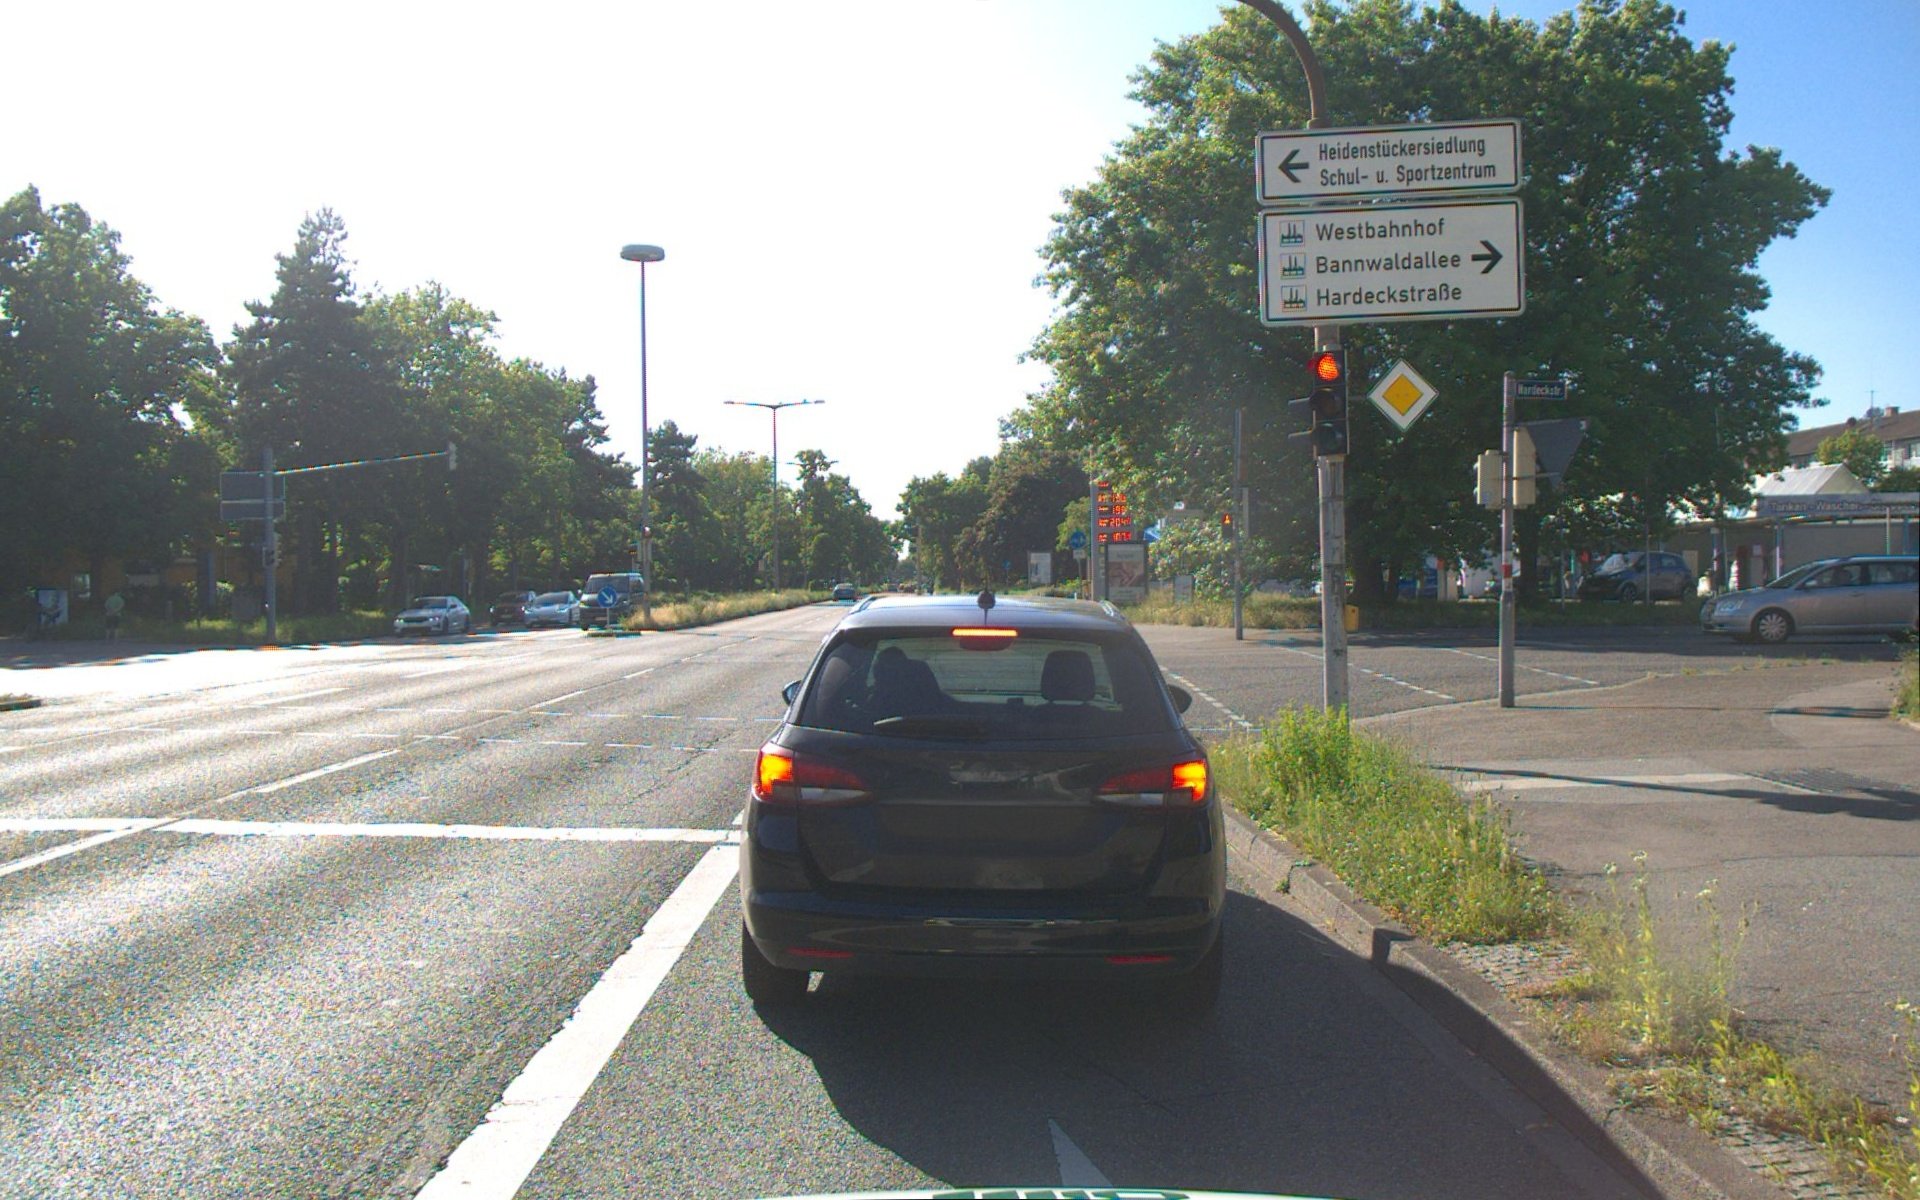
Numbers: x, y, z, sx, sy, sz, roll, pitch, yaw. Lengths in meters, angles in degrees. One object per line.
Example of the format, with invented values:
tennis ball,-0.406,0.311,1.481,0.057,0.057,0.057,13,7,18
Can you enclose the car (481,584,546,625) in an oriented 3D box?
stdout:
car,-20.545,0.191,76.269,1.953,1.780,3.999,-1,1,-1

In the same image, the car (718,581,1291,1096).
car,0.102,0.713,6.867,1.720,1.535,3.807,0,0,-1

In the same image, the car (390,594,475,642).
car,-19.691,0.666,61.873,1.826,1.713,4.259,1,0,-1

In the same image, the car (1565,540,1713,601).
car,19.830,-0.839,48.333,3.779,1.640,1.794,1,0,-20

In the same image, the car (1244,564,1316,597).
car,17.935,-1.075,92.699,3.638,1.714,1.703,1,0,-4

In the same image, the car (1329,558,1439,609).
car,15.308,-0.585,59.677,3.668,1.714,1.689,1,0,-28

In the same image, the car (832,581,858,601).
car,-9.226,-0.713,132.756,1.850,1.579,3.999,-1,0,-1

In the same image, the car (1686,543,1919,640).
car,15.484,-0.142,29.200,4.519,1.601,2.002,-1,-1,10

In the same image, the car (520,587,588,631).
car,-16.710,0.364,68.247,1.826,1.713,3.999,1,0,-1

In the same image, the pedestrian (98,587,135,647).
pedestrian,-26.759,0.530,52.472,0.828,1.867,0.550,-1,0,3

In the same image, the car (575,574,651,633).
car,-12.637,0.120,60.411,1.953,2.049,3.999,1,0,-1

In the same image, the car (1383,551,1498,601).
car,16.643,-0.807,57.227,3.800,1.590,1.785,1,0,-33

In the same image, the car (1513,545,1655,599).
car,18.961,-0.825,50.283,3.779,1.508,1.794,1,0,-20

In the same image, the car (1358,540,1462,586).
car,17.813,-1.449,65.543,3.638,1.714,1.703,1,0,-4
